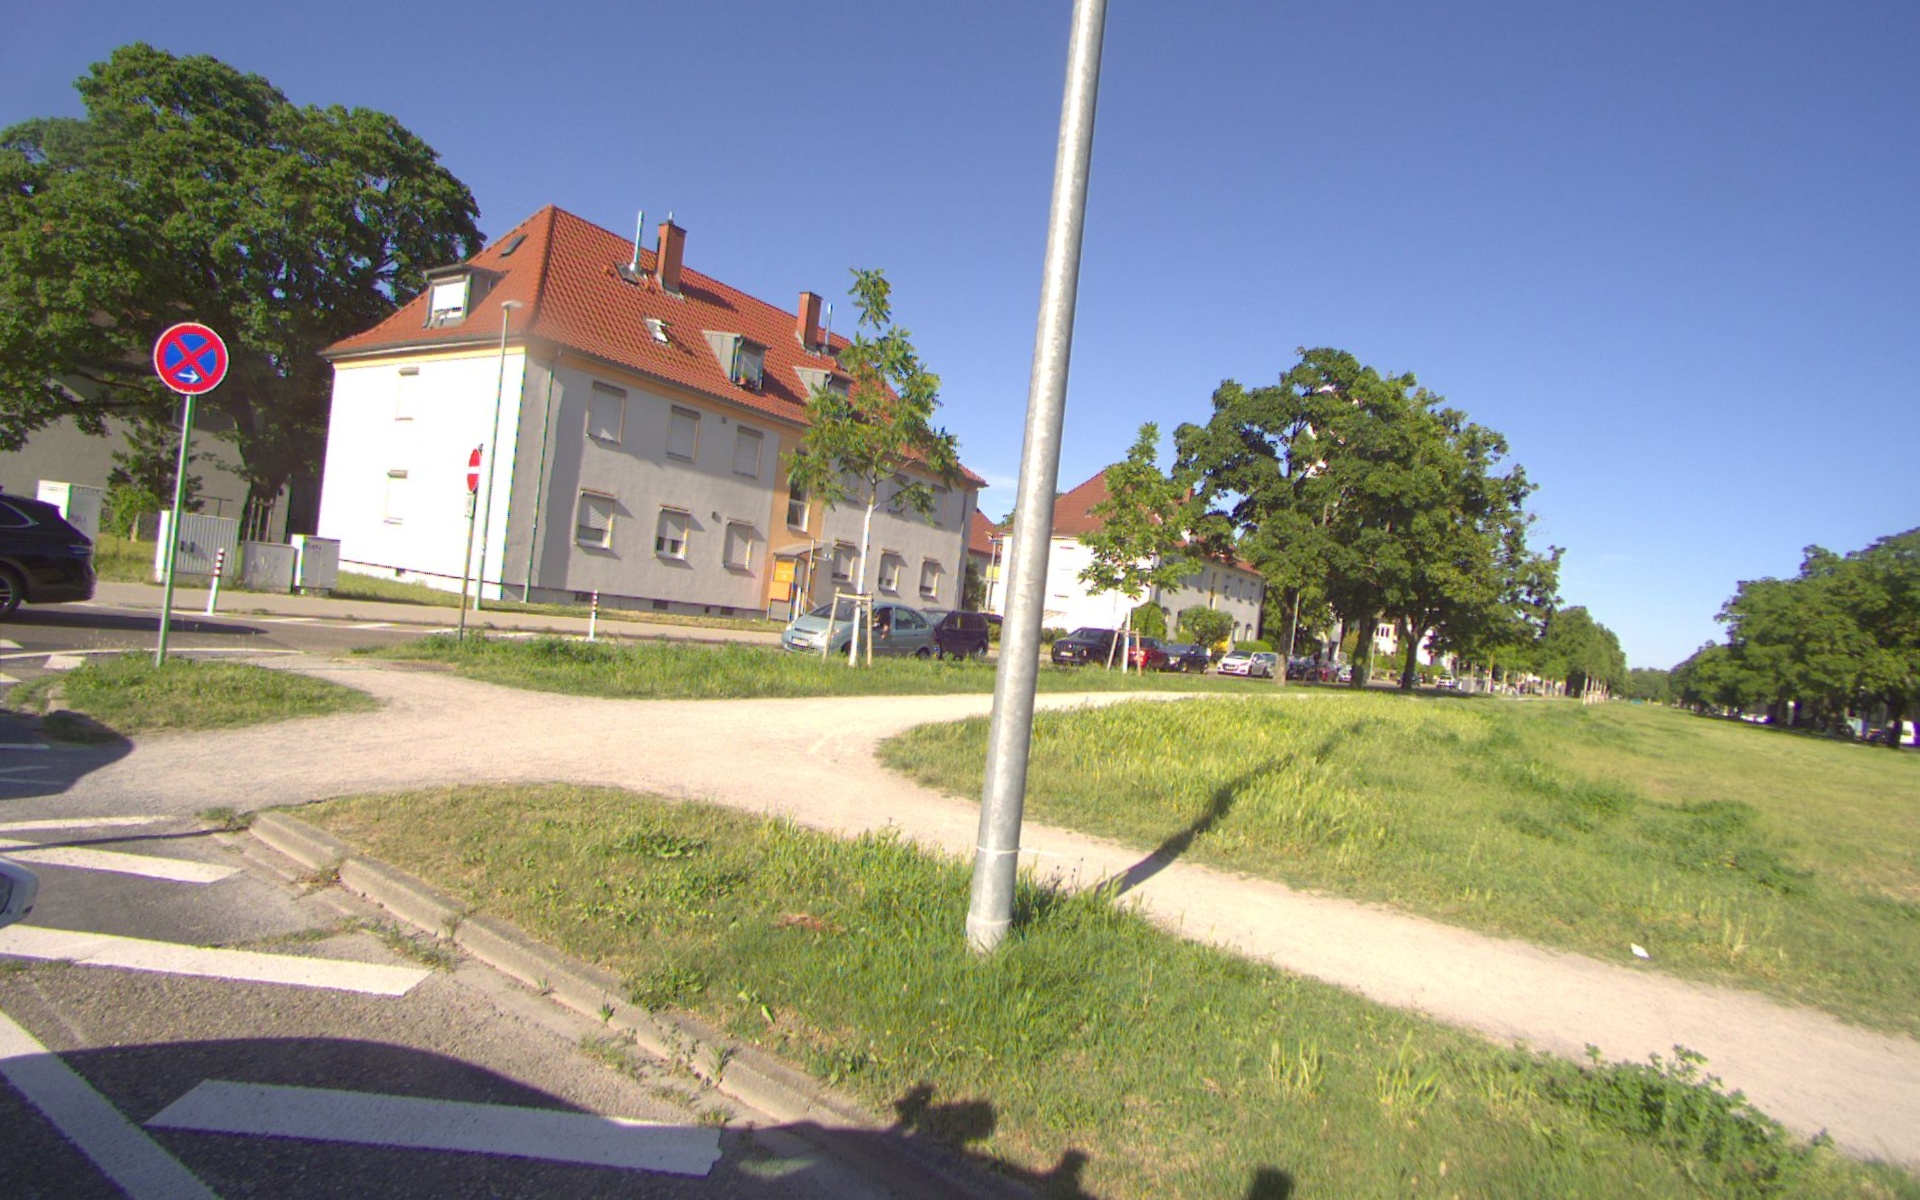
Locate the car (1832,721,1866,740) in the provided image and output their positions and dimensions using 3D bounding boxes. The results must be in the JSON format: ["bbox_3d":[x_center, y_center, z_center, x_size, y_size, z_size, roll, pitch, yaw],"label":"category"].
[{"bbox_3d":[93.494,13.719,105.829,2.049,1.484,4.713,7,0,36],"label":"car"}]

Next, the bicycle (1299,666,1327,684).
[{"bbox_3d":[21.427,4.544,61.033,1.036,0.949,2.759,7,0,30],"label":"bicycle"}]

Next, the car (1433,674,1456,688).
[{"bbox_3d":[56.749,9.453,117.820,1.694,1.358,3.798,7,0,35],"label":"car"}]

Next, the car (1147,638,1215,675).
[{"bbox_3d":[10.898,2.799,49.495,1.694,1.459,4.129,7,0,35],"label":"car"}]

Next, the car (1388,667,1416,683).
[{"bbox_3d":[43.614,7.423,99.241,1.694,1.358,3.798,7,0,35],"label":"car"}]

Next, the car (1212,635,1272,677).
[{"bbox_3d":[16.074,3.232,57.204,1.842,2.038,4.244,7,0,35],"label":"car"}]

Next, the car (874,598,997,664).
[{"bbox_3d":[-0.708,1.018,31.981,1.694,1.684,4.053,7,0,35],"label":"car"}]

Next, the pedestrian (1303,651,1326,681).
[{"bbox_3d":[21.505,4.008,61.051,1.036,1.730,0.692,7,1,30],"label":"pedestrian"}]

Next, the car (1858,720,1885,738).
[{"bbox_3d":[110.284,15.590,121.752,1.837,1.868,3.982,7,0,36],"label":"car"}]

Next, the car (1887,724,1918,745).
[{"bbox_3d":[103.565,14.717,110.578,1.837,1.868,3.982,7,0,36],"label":"car"}]

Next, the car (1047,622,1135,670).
[{"bbox_3d":[5.366,1.911,40.884,1.694,1.602,4.129,7,0,35],"label":"car"}]

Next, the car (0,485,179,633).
[{"bbox_3d":[-11.757,-0.633,10.907,1.967,1.543,4.745,7,0,32],"label":"car"}]

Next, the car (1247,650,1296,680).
[{"bbox_3d":[19.150,3.982,61.719,1.694,1.517,3.798,7,0,35],"label":"car"}]

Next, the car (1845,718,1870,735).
[{"bbox_3d":[119.244,16.773,133.725,1.837,1.868,3.982,7,0,36],"label":"car"}]

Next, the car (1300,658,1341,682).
[{"bbox_3d":[25.532,4.965,71.231,1.694,1.358,3.798,7,0,35],"label":"car"}]

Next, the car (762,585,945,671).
[{"bbox_3d":[-2.422,0.719,23.905,1.859,1.628,4.235,7,0,35],"label":"car"}]

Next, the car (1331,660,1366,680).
[{"bbox_3d":[31.047,5.608,80.330,1.694,1.358,3.798,7,0,35],"label":"car"}]

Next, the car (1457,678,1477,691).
[{"bbox_3d":[65.818,10.999,130.658,1.694,1.358,3.798,7,0,35],"label":"car"}]

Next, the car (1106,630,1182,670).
[{"bbox_3d":[8.399,2.316,45.705,1.694,1.459,4.129,7,0,35],"label":"car"}]

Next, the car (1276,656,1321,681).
[{"bbox_3d":[22.161,4.506,65.850,1.694,1.358,3.798,7,0,35],"label":"car"}]
